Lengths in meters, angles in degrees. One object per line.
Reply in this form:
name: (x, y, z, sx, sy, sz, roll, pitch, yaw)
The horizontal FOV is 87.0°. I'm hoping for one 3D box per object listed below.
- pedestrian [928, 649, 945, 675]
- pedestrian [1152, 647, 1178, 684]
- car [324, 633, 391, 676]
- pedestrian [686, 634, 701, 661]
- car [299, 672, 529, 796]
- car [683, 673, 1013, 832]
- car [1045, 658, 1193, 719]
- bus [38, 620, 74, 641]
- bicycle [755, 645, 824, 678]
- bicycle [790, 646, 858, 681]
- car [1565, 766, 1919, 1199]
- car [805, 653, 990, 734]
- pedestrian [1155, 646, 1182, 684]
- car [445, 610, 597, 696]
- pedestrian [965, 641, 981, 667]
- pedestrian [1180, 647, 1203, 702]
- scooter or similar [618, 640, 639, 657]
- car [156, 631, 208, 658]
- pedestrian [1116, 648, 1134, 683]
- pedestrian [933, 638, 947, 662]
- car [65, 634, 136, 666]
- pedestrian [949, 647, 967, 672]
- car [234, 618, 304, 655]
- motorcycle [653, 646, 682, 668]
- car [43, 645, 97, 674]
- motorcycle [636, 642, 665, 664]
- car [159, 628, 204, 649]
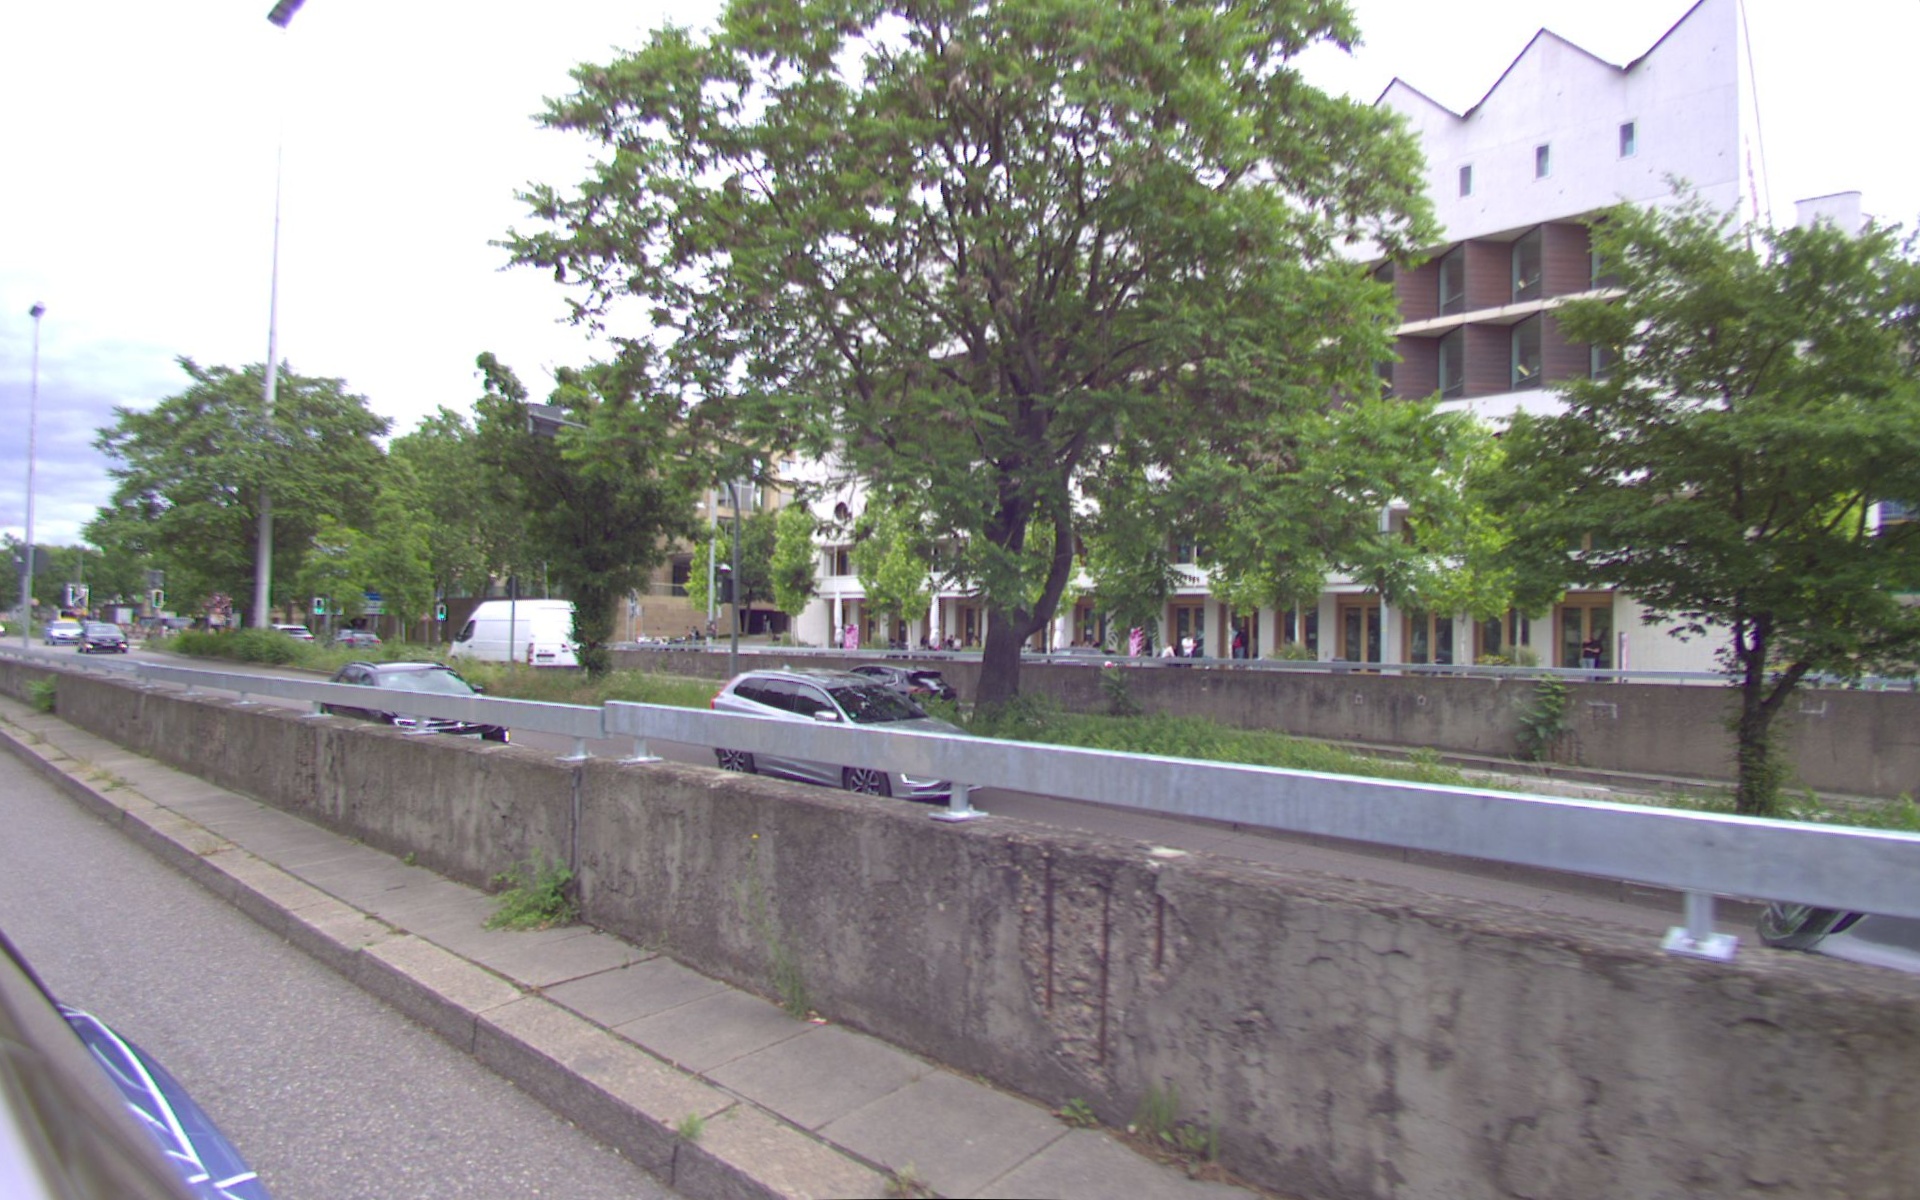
pedestrian: (-1.286, 3.398, 55.159, 0.640, 1.337, 0.636, 6, -7, -20)
pedestrian: (9.065, 2.885, 44.858, 0.899, 1.534, 0.634, 5, -2, 0)
car: (-31.339, 2.778, 52.588, 4.000, 2.029, 1.972, -1, 0, 43)
pedestrian: (-15.802, 2.812, 59.987, 0.590, 1.569, 0.883, 1, -3, -1)
car: (-8.834, 2.031, 16.259, 4.147, 1.527, 1.746, -1, -1, 38)
car: (-1.719, 1.972, 14.300, 4.737, 1.629, 1.972, -1, -2, 42)
car: (5.022, 2.764, 32.303, 4.389, 1.730, 1.838, -1, -4, 41)
bus: (-146.328, 4.956, 163.769, 10.444, 3.330, 2.882, -1, -3, 41)
bicycle: (-8.895, 3.217, 53.001, 1.182, 1.697, 3.575, -2, -4, 40)
bicycle: (-6.914, 3.226, 51.634, 1.182, 1.697, 3.575, -2, -4, 40)
car: (5.487, 1.879, 4.354, 4.657, 1.728, 1.873, -2, -2, 42)
car: (-1.475, 2.056, 23.125, 3.995, 1.498, 1.883, -1, 0, 38)
pedestrian: (9.084, 2.836, 44.131, 0.899, 1.534, 0.634, 6, -3, 0)
car: (-15.003, 1.668, 34.383, 6.054, 2.543, 2.301, 1, 0, 40)
pedestrian: (0.717, 2.977, 55.465, 0.639, 1.337, 0.636, 5, -7, -22)
pedestrian: (8.806, 2.837, 38.528, 0.630, 2.029, 0.625, -1, 0, 42)
scooter or similar: (-25.746, 3.759, 78.601, 0.537, 1.351, 1.399, -2, -3, 42)
car: (-52.289, 2.952, 67.993, 4.443, 1.730, 1.837, -1, -4, 41)
pedestrian: (7.954, 3.155, 48.686, 0.629, 1.646, 0.626, -1, -2, 38)
pedestrian: (-1.149, 2.828, 57.726, 0.565, 1.337, 0.513, 0, -3, 42)
car: (-42.893, 2.464, 50.483, 4.806, 1.494, 1.973, -2, -3, 41)
pedestrian: (-0.086, 3.209, 54.789, 0.777, 1.337, 0.672, 1, -2, -21)
car: (-34.915, 1.841, 51.068, 4.444, 1.730, 1.837, -2, -4, 42)
motorcycle: (-17.266, 3.343, 59.804, 0.653, 1.243, 1.879, 2, -2, 17)
car: (-54.605, 3.605, 62.060, 3.998, 1.658, 1.972, -2, -2, 42)
motorcycle: (-18.506, 3.163, 60.504, 0.653, 1.243, 1.879, 2, -2, 17)
car: (-59.481, 2.918, 77.335, 3.993, 1.473, 1.740, -1, 0, 37)
